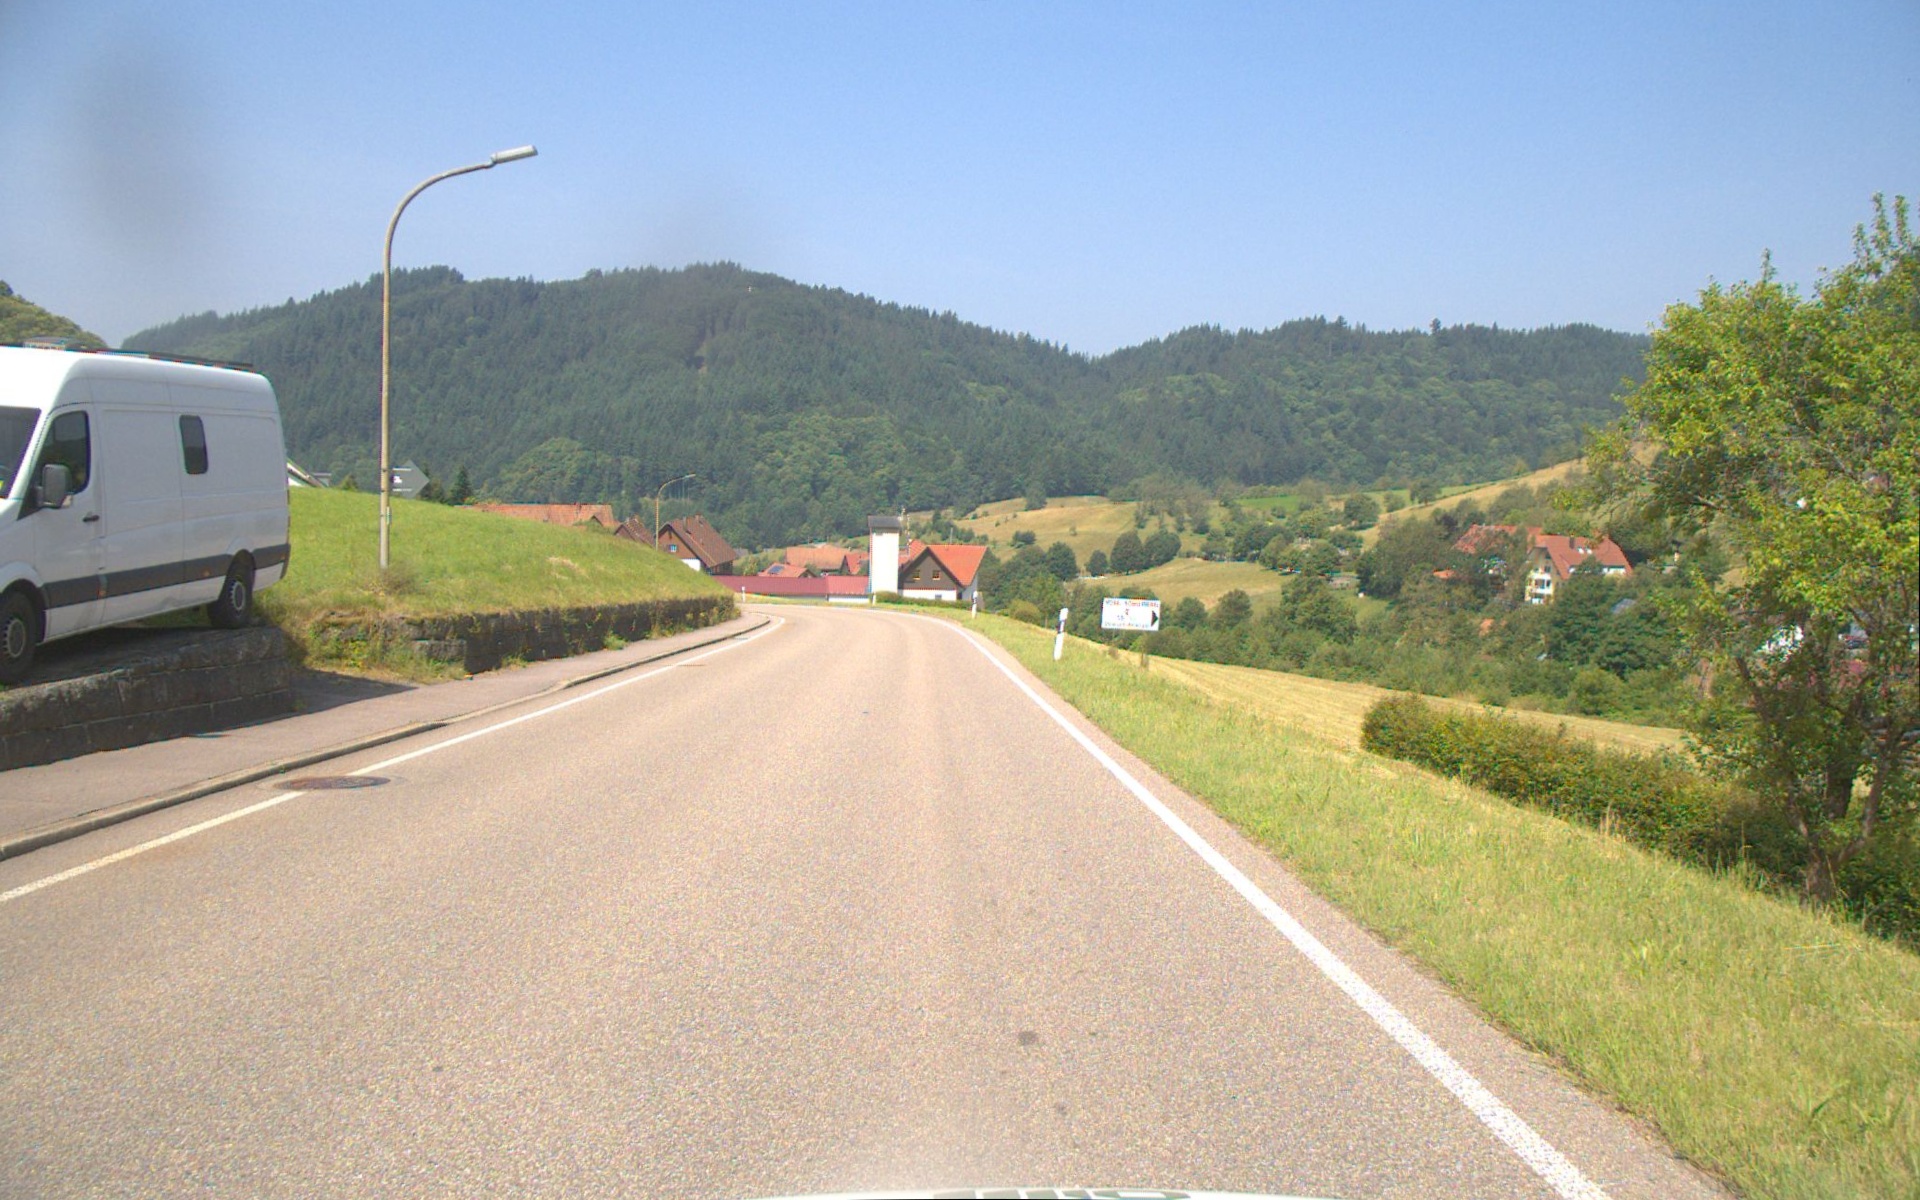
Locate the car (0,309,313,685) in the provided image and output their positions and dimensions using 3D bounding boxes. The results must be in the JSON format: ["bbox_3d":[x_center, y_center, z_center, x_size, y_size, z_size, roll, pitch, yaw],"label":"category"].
[{"bbox_3d":[-8.126,-0.985,14.833,2.026,2.734,7.173,3,4,-3],"label":"car"}]
